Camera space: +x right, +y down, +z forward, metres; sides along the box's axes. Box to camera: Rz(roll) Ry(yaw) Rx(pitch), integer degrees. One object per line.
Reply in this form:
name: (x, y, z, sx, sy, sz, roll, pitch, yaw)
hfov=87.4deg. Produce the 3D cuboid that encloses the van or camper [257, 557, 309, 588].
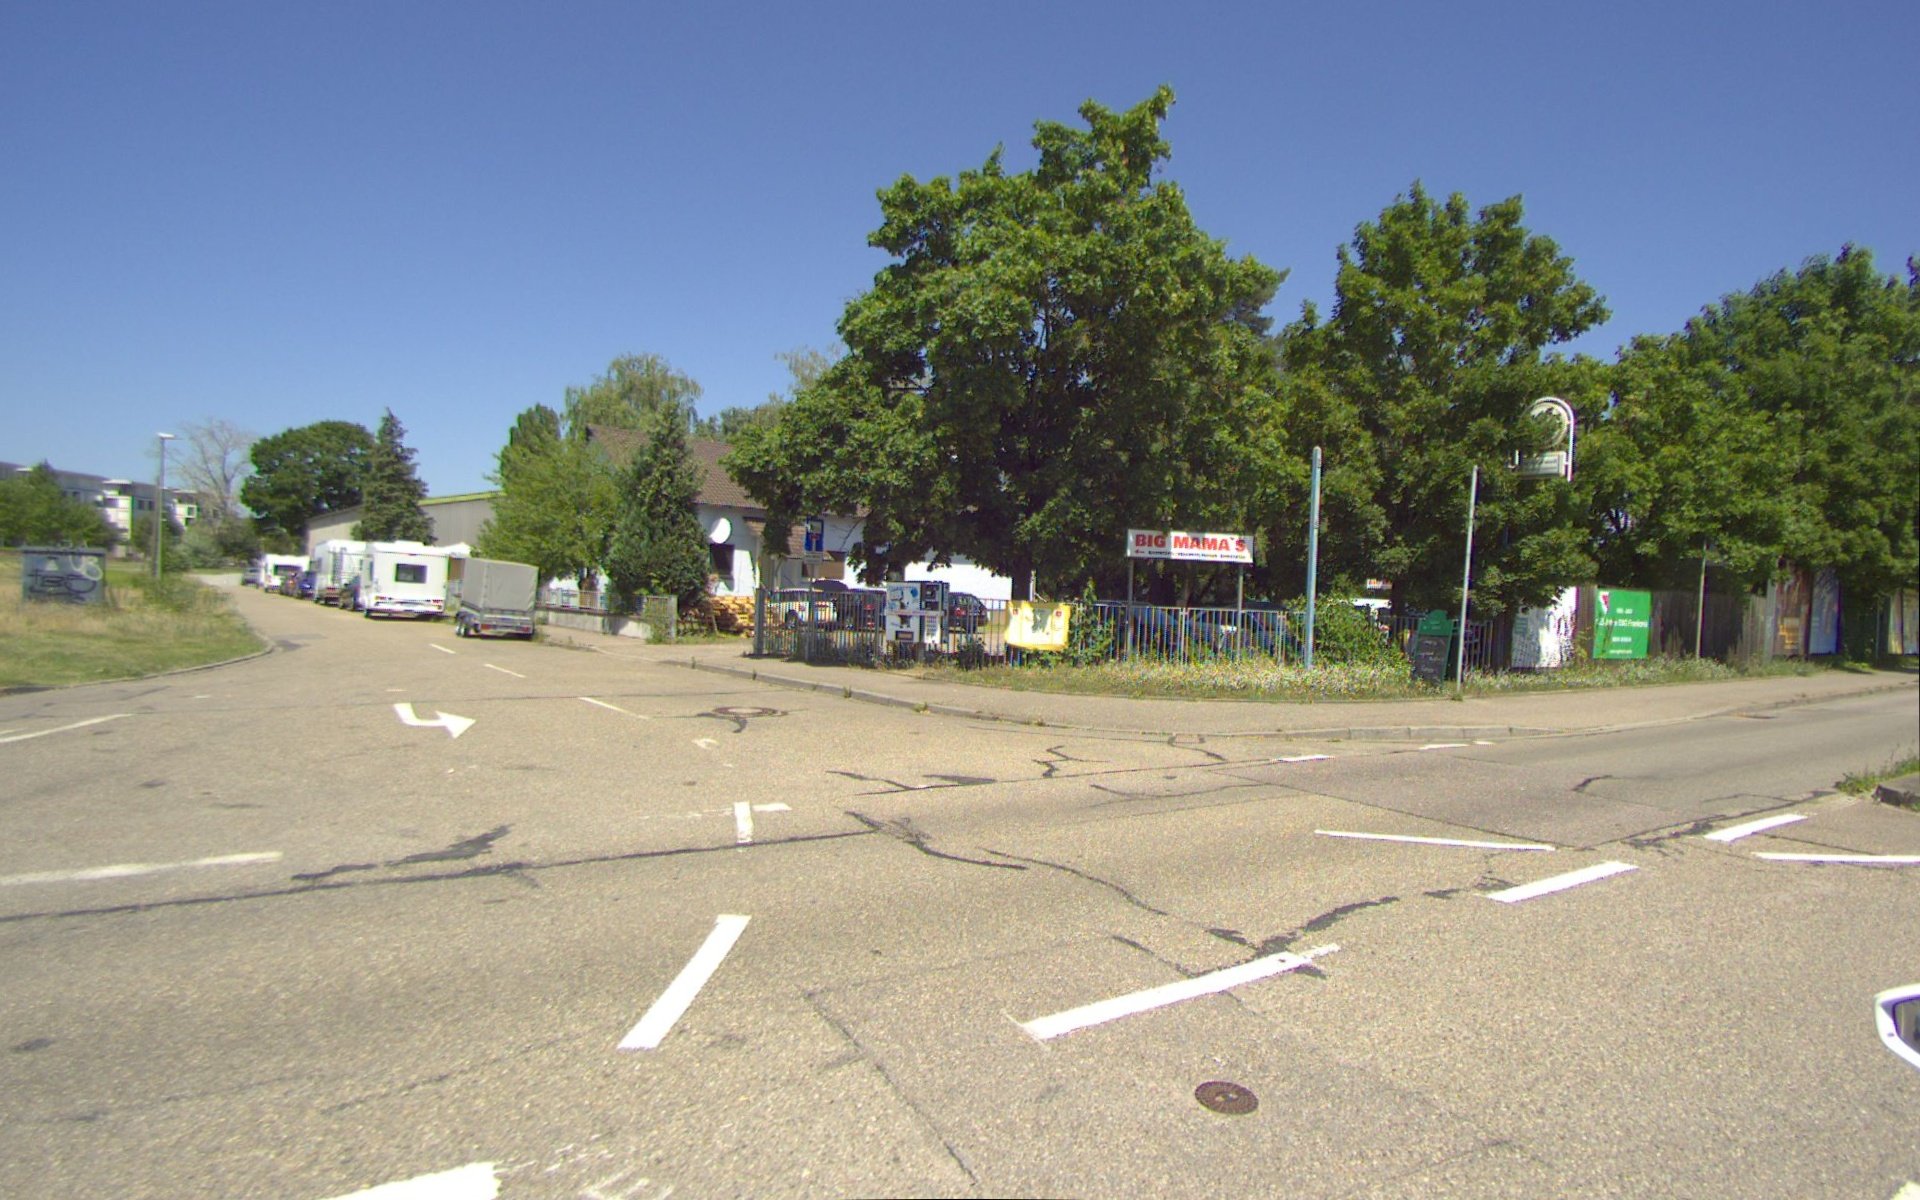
van or camper: (-45.784, -1.875, 67.885, 2.340, 1.905, 4.999, 2, 0, -41)

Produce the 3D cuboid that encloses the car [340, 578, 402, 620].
car: (-24.803, -0.064, 42.218, 1.896, 1.572, 3.960, 2, 0, -35)

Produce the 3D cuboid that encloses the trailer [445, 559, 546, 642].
trailer: (-12.596, -0.007, 27.159, 1.745, 2.073, 3.388, 2, 0, -37)

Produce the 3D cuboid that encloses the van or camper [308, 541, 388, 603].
van or camper: (-28.918, -1.320, 47.360, 2.451, 2.628, 5.902, 2, 0, -38)

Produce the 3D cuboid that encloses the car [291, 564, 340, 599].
car: (-34.938, -1.012, 54.417, 1.744, 1.795, 3.537, 2, 0, -40)

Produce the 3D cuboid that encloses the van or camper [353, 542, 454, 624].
van or camper: (-19.984, -0.661, 35.980, 2.470, 2.626, 4.418, 2, 2, -37)

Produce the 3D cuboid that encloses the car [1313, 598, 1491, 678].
car: (12.470, 1.013, 28.569, 1.767, 2.003, 4.272, 2, 0, -38)

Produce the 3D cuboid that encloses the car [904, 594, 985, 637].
car: (-0.607, 0.548, 37.708, 1.529, 1.466, 3.110, 2, 0, -36)

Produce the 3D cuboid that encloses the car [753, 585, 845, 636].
car: (-5.504, 0.326, 34.043, 1.756, 1.598, 3.311, 2, 0, -36)

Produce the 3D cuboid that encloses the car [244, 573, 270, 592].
car: (-63.724, -1.590, 91.027, 1.579, 1.618, 3.537, 2, 0, -40)

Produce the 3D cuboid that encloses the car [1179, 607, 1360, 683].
car: (7.323, 1.020, 24.082, 1.792, 1.546, 3.836, 2, 0, -36)

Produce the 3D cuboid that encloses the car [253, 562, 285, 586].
car: (-54.260, -2.034, 78.861, 1.744, 1.795, 3.537, 2, 0, -40)

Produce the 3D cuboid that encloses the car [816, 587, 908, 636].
car: (-3.500, 0.390, 35.434, 1.756, 1.586, 3.311, 2, 0, -36)
